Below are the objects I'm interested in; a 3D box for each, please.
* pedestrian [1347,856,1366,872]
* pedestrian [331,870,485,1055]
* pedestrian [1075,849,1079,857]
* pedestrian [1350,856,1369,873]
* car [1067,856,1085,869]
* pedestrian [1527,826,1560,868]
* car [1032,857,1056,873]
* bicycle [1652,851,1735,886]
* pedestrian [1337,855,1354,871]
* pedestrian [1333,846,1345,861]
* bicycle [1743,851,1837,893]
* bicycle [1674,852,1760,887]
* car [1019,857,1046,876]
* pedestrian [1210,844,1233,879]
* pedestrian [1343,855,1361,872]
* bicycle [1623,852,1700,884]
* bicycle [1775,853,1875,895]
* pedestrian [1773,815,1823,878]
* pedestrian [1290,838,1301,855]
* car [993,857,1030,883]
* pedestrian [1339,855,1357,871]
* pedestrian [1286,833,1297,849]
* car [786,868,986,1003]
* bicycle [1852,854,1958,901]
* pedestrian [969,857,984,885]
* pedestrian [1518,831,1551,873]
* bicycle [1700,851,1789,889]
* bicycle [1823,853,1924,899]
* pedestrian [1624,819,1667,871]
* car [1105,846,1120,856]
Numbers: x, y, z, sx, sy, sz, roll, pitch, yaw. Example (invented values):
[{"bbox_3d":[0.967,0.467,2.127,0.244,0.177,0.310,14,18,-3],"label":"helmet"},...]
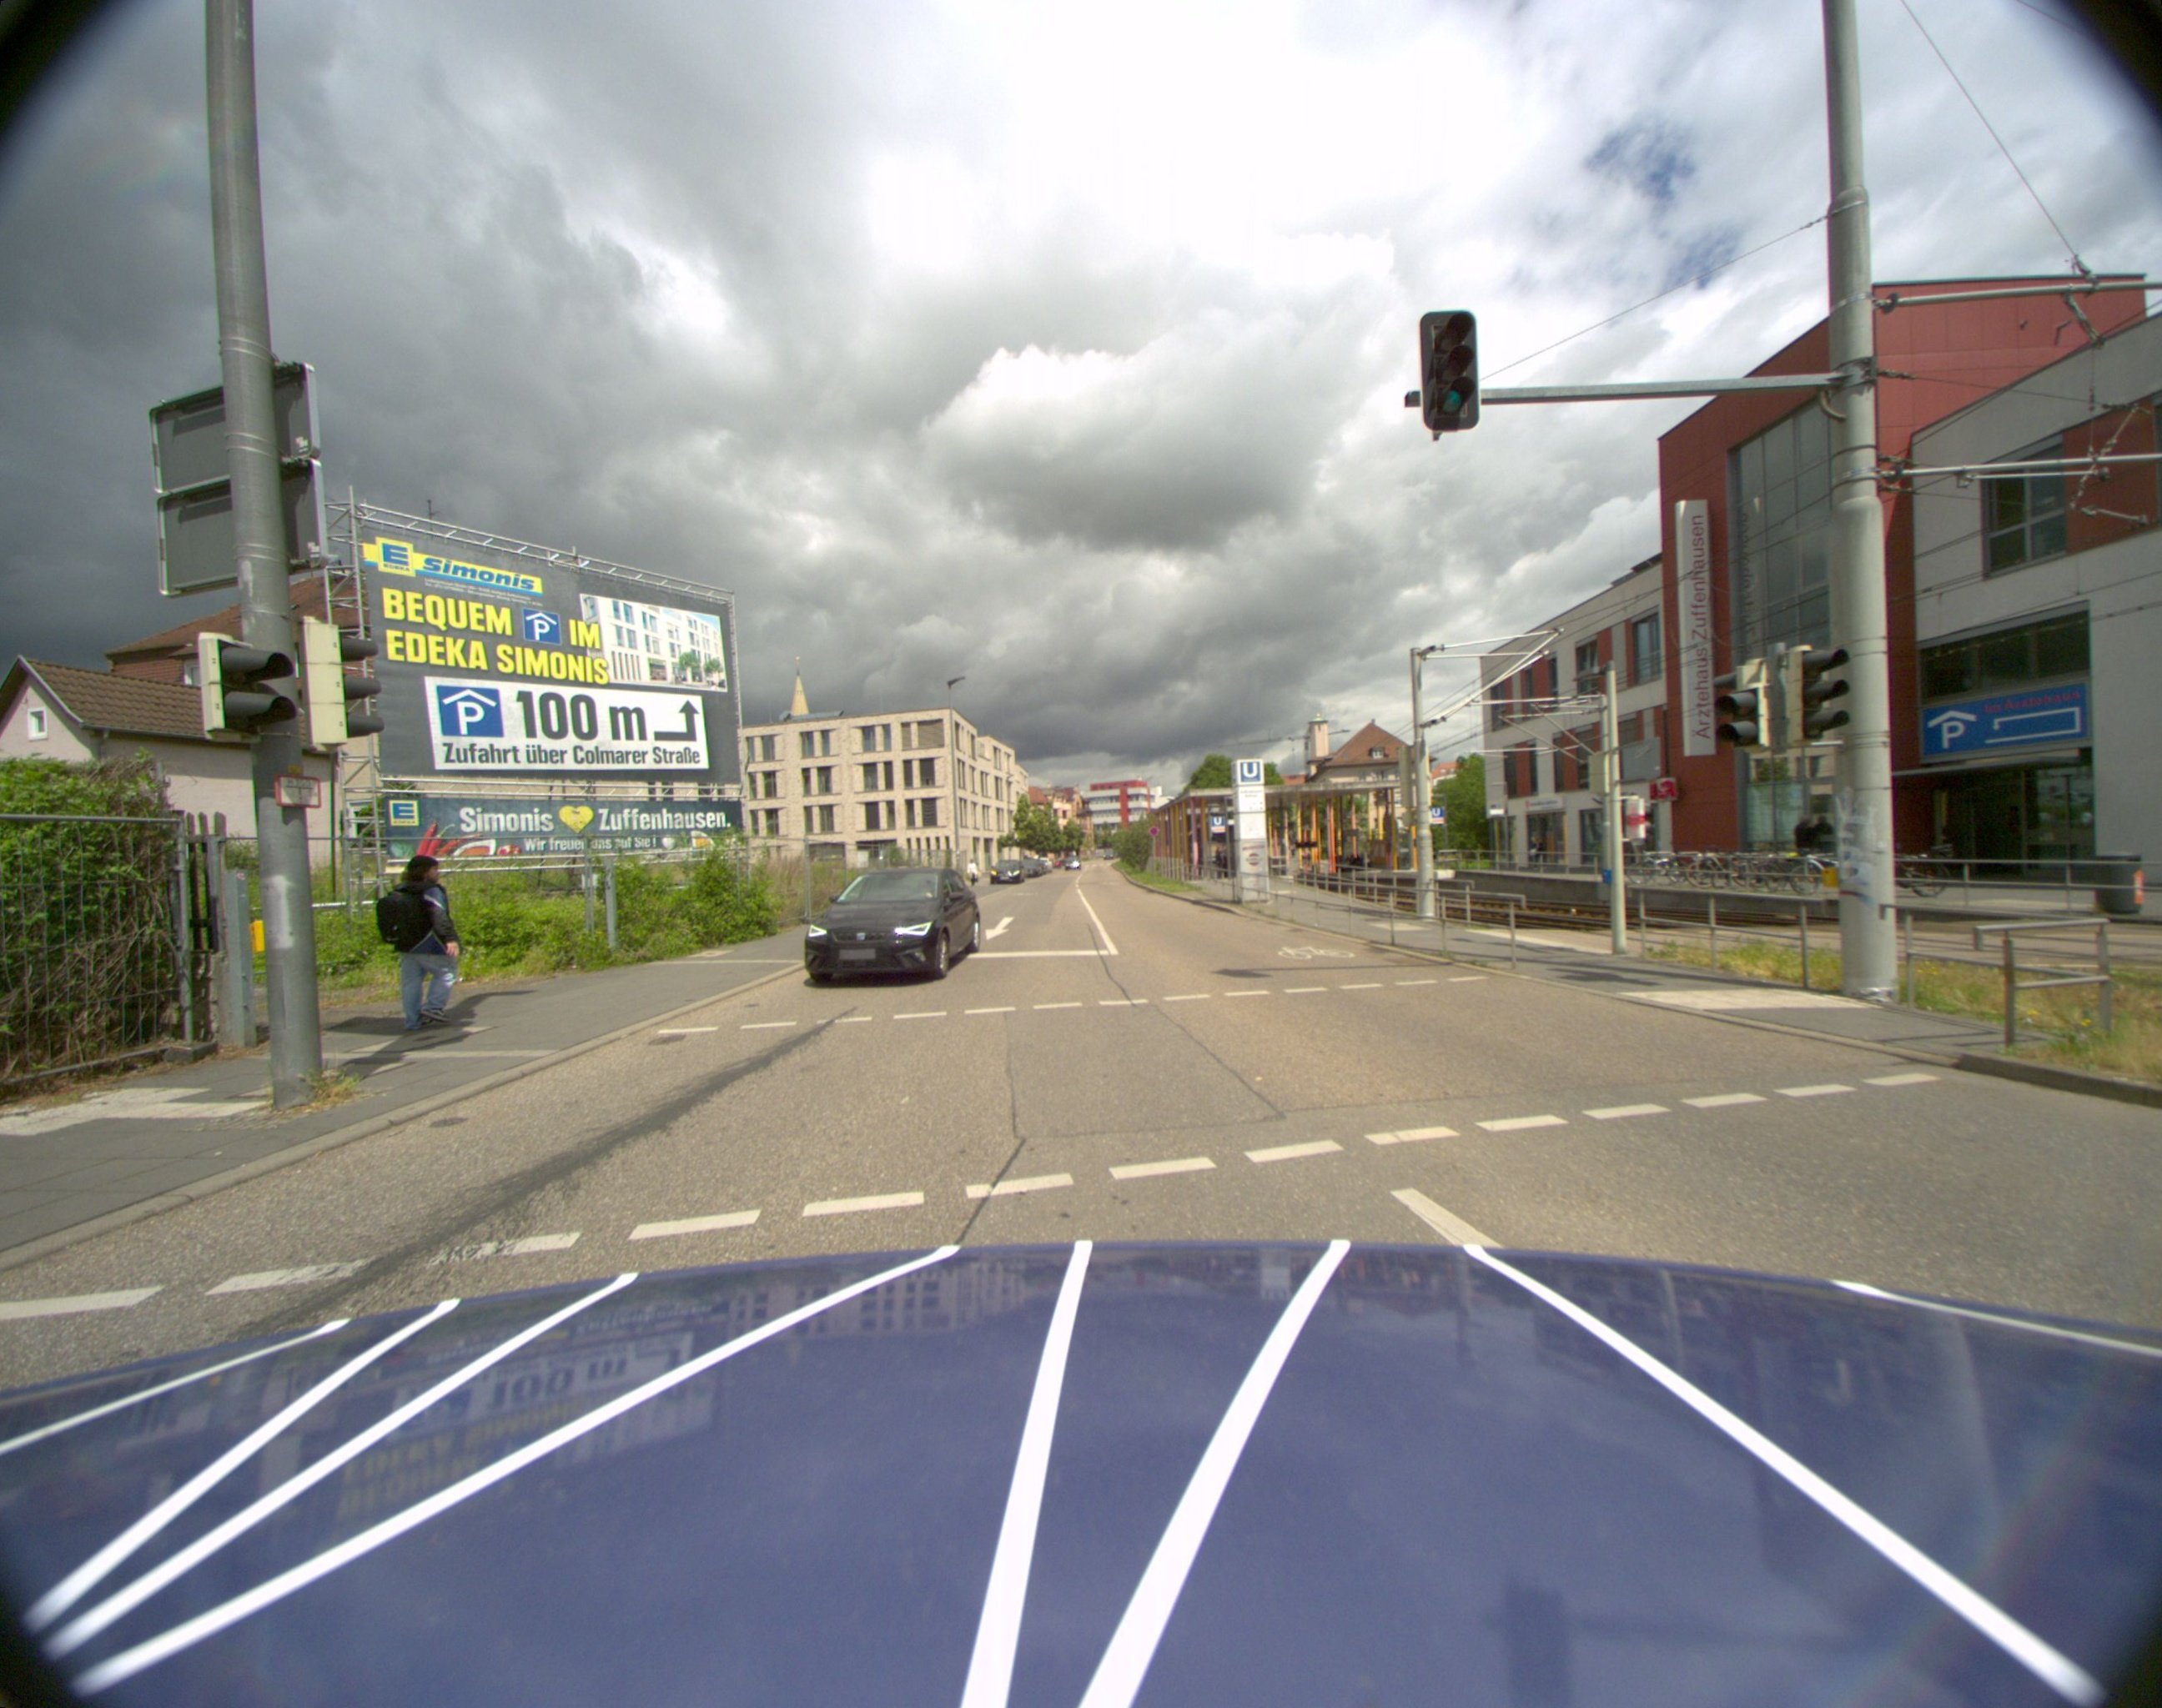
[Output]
[{"bbox_3d":[19.074,0.687,52.637,0.943,1.128,0.886,-2,0,2],"label":"pedestrian"},{"bbox_3d":[-6.331,0.975,7.183,0.765,1.633,0.778,-1,0,12],"label":"pedestrian"},{"bbox_3d":[-0.675,-0.139,136.411,0.673,1.503,0.783,-2,0,3],"label":"pedestrian"},{"bbox_3d":[18.942,0.711,51.694,0.943,1.128,0.886,-2,0,2],"label":"pedestrian"},{"bbox_3d":[-0.532,0.971,84.159,1.677,1.299,3.794,-1,1,3],"label":"car"},{"bbox_3d":[21.796,-0.330,35.817,0.864,1.957,1.105,-1,2,-1],"label":"pedestrian"},{"bbox_3d":[-3.288,0.991,67.860,1.677,1.299,3.794,-1,1,3],"label":"car"},{"bbox_3d":[17.593,0.410,21.850,1.861,0.927,0.455,-2,1,9],"label":"bicycle"},{"bbox_3d":[19.382,0.638,55.611,0.943,1.128,0.886,-2,0,2],"label":"pedestrian"},{"bbox_3d":[24.828,-0.024,73.226,0.745,1.442,0.902,-2,0,-8],"label":"pedestrian"},{"bbox_3d":[17.684,0.440,18.968,1.862,0.957,0.454,-2,1,3],"label":"bicycle"},{"bbox_3d":[17.567,0.424,21.021,1.861,0.917,0.455,-2,1,8],"label":"bicycle"},{"bbox_3d":[-3.799,0.988,59.957,1.677,1.367,3.795,-2,0,3],"label":"car"},{"bbox_3d":[7.705,0.399,41.642,1.105,1.903,0.864,-1,2,2],"label":"pedestrian"},{"bbox_3d":[19.089,0.669,53.595,0.943,1.128,0.886,-2,0,2],"label":"pedestrian"},{"bbox_3d":[17.534,0.424,22.978,1.861,0.876,0.455,-2,1,9],"label":"bicycle"},{"bbox_3d":[17.646,0.471,18.037,1.862,0.930,0.454,-2,1,3],"label":"bicycle"},{"bbox_3d":[22.012,-0.238,23.338,0.881,1.835,0.862,-4,3,-27],"label":"pedestrian"},{"bbox_3d":[25.129,-0.875,89.187,1.127,2.002,1.459,-2,0,13],"label":"pedestrian"},{"bbox_3d":[-4.154,0.944,46.112,1.677,1.415,3.794,-1,1,3],"label":"car"},{"bbox_3d":[19.186,0.649,54.586,0.943,1.128,0.886,-2,0,2],"label":"pedestrian"},{"bbox_3d":[27.235,-1.651,98.193,1.127,2.002,1.179,-2,0,6],"label":"pedestrian"},{"bbox_3d":[-2.557,1.014,10.920,1.677,1.425,3.794,-2,1,3],"label":"car"},{"bbox_3d":[17.725,0.505,16.364,1.739,0.947,0.428,-2,1,3],"label":"bicycle"},{"bbox_3d":[-5.767,0.948,42.023,0.673,1.503,0.782,-2,0,1],"label":"pedestrian"},{"bbox_3d":[21.383,-0.091,35.841,0.864,1.957,1.105,-1,2,-1],"label":"pedestrian"},{"bbox_3d":[17.550,0.431,20.120,1.861,0.934,0.454,-2,1,5],"label":"bicycle"},{"bbox_3d":[17.713,0.491,16.997,1.739,0.952,0.428,-2,1,3],"label":"bicycle"},{"bbox_3d":[21.868,-0.358,29.446,0.864,1.957,1.106,-1,2,3],"label":"pedestrian"},{"bbox_3d":[5.553,-0.560,132.672,1.996,1.710,4.003,-1,1,13],"label":"car"}]
